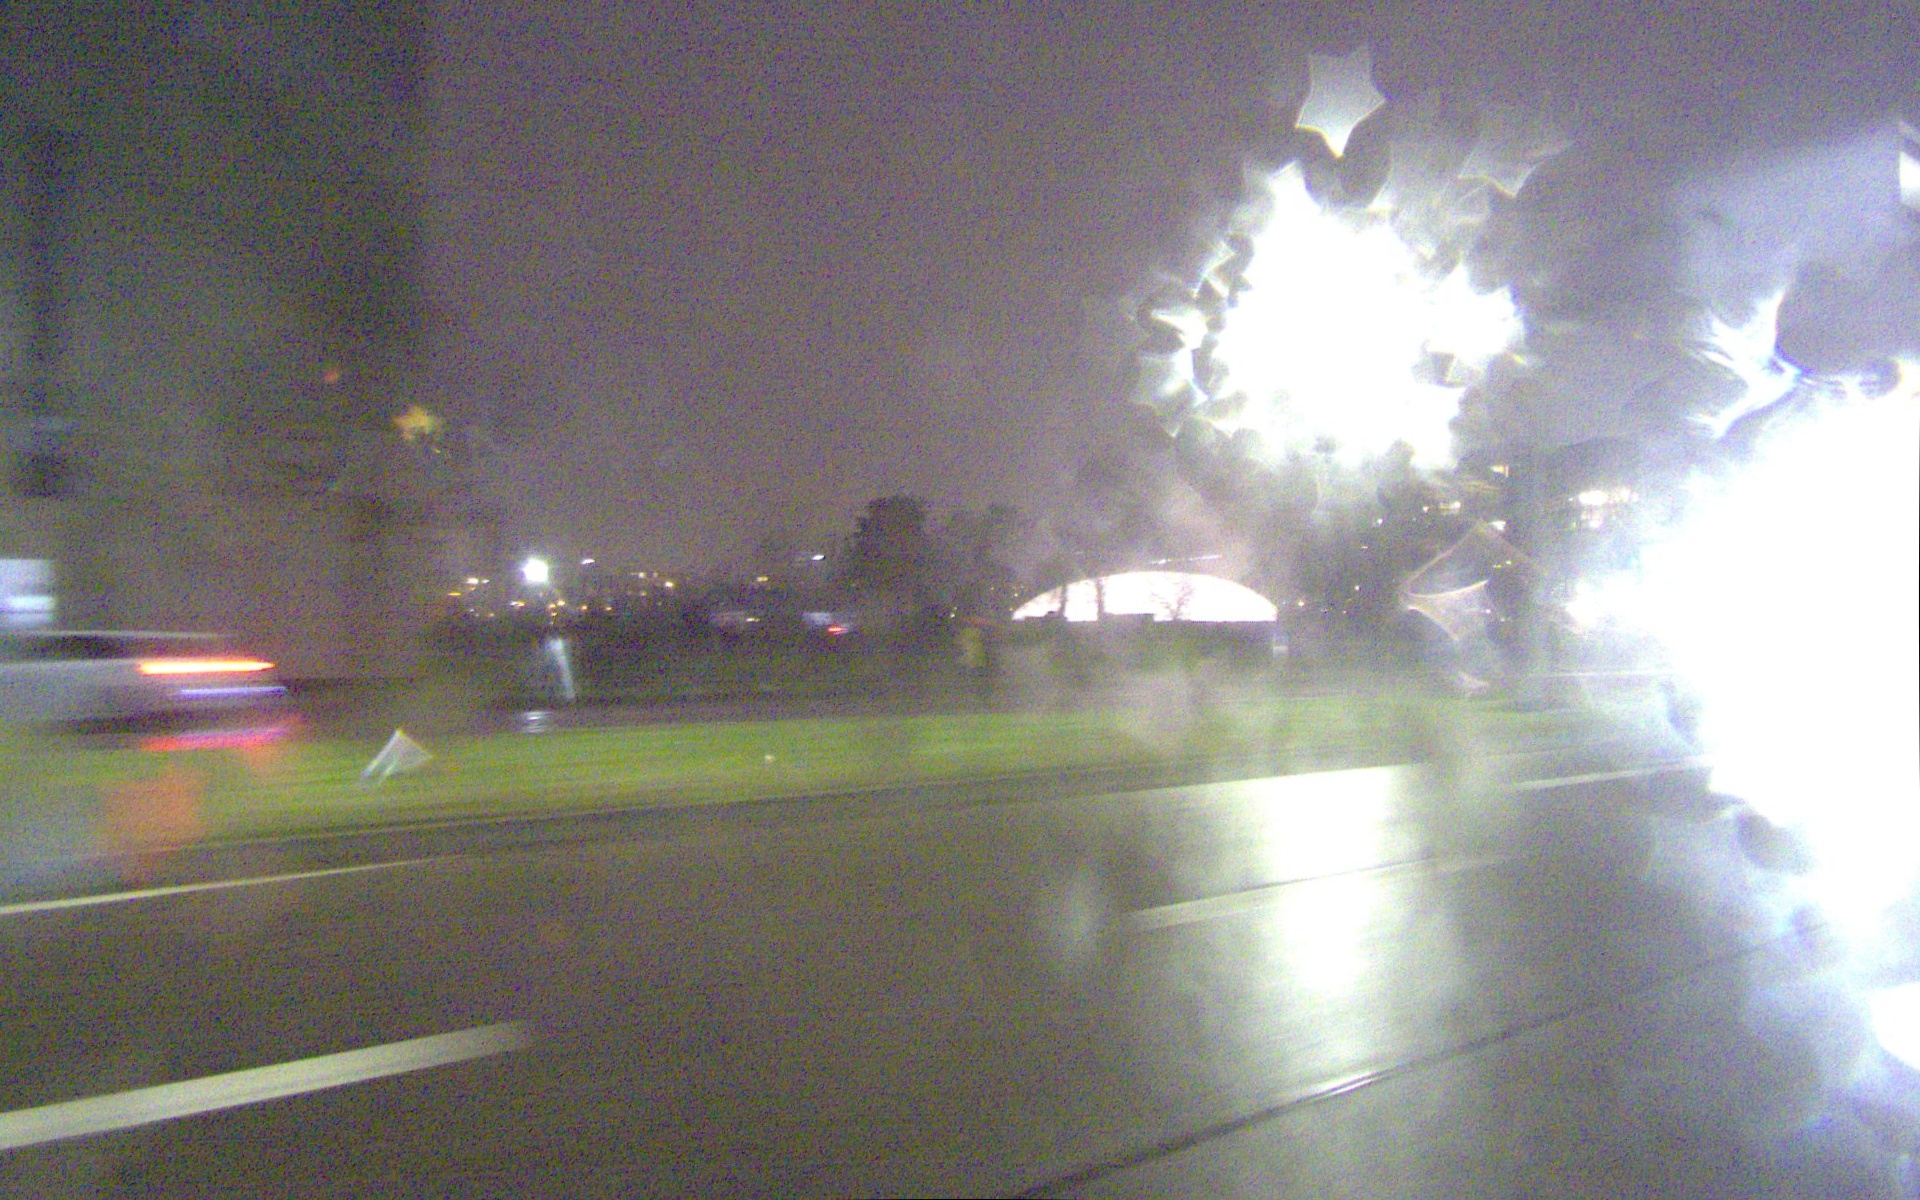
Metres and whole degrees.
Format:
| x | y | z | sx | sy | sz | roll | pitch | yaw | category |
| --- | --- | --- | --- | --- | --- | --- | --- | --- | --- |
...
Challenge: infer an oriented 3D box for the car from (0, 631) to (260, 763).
| x | y | z | sx | sy | sz | roll | pitch | yaw | category |
| --- | --- | --- | --- | --- | --- | --- | --- | --- | --- |
| -12.950 | 1.330 | 14.480 | 4.495 | 1.706 | 2.014 | 1 | 0 | -31 | car |

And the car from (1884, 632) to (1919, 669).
| x | y | z | sx | sy | sz | roll | pitch | yaw | category |
| --- | --- | --- | --- | --- | --- | --- | --- | --- | --- |
| 48.619 | 2.525 | 50.616 | 4.389 | 1.736 | 1.820 | 1 | 0 | -30 | car |
